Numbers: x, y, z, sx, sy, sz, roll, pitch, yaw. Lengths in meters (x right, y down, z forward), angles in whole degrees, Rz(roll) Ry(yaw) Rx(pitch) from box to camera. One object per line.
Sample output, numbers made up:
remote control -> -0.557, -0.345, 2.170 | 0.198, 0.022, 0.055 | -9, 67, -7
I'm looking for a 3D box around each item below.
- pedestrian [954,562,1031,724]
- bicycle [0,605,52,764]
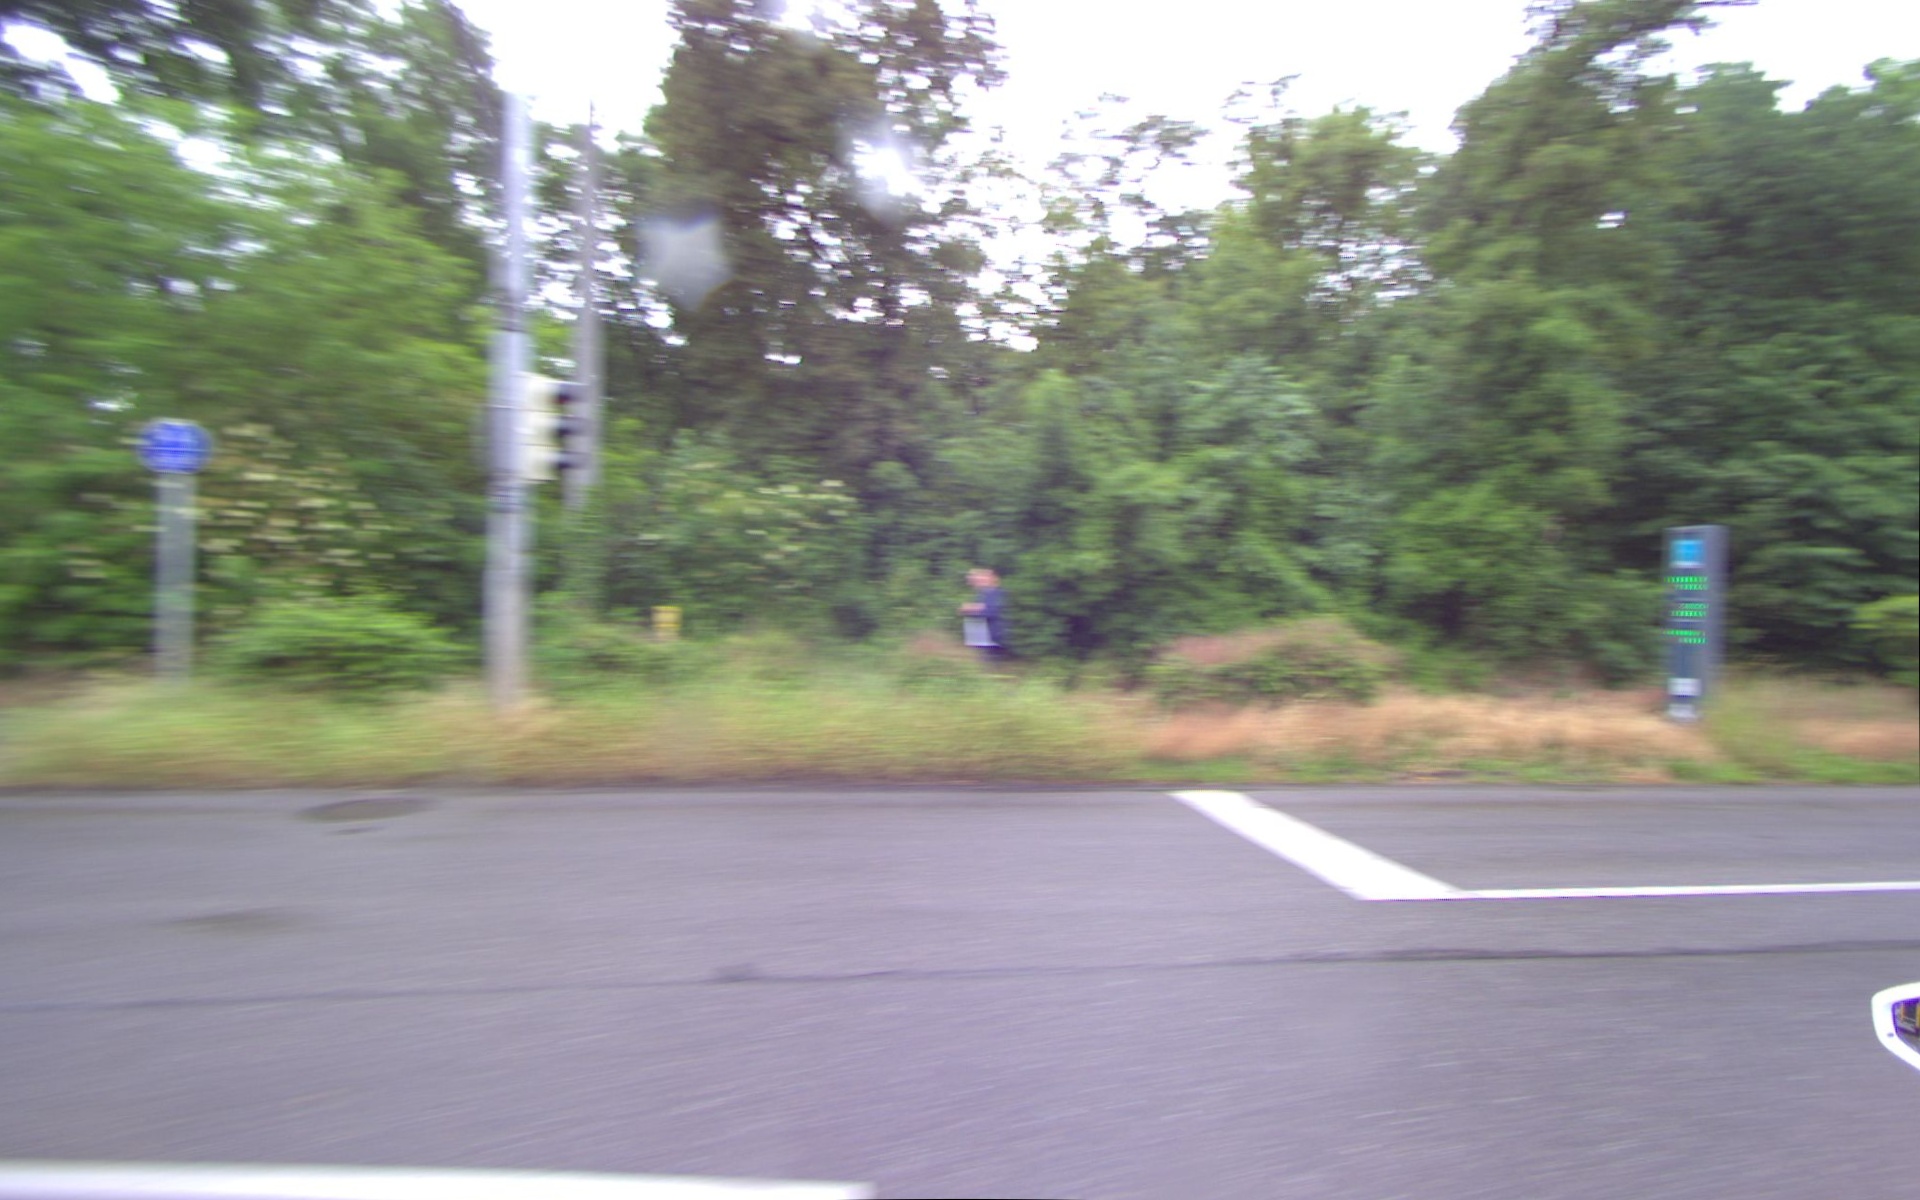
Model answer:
pedestrian -> 0.366, 0.498, 11.899 | 0.749, 1.823, 0.778 | 2, 0, -6
bicycle -> -7.091, 0.603, 6.450 | 0.569, 1.111, 2.154 | 3, 0, -2
